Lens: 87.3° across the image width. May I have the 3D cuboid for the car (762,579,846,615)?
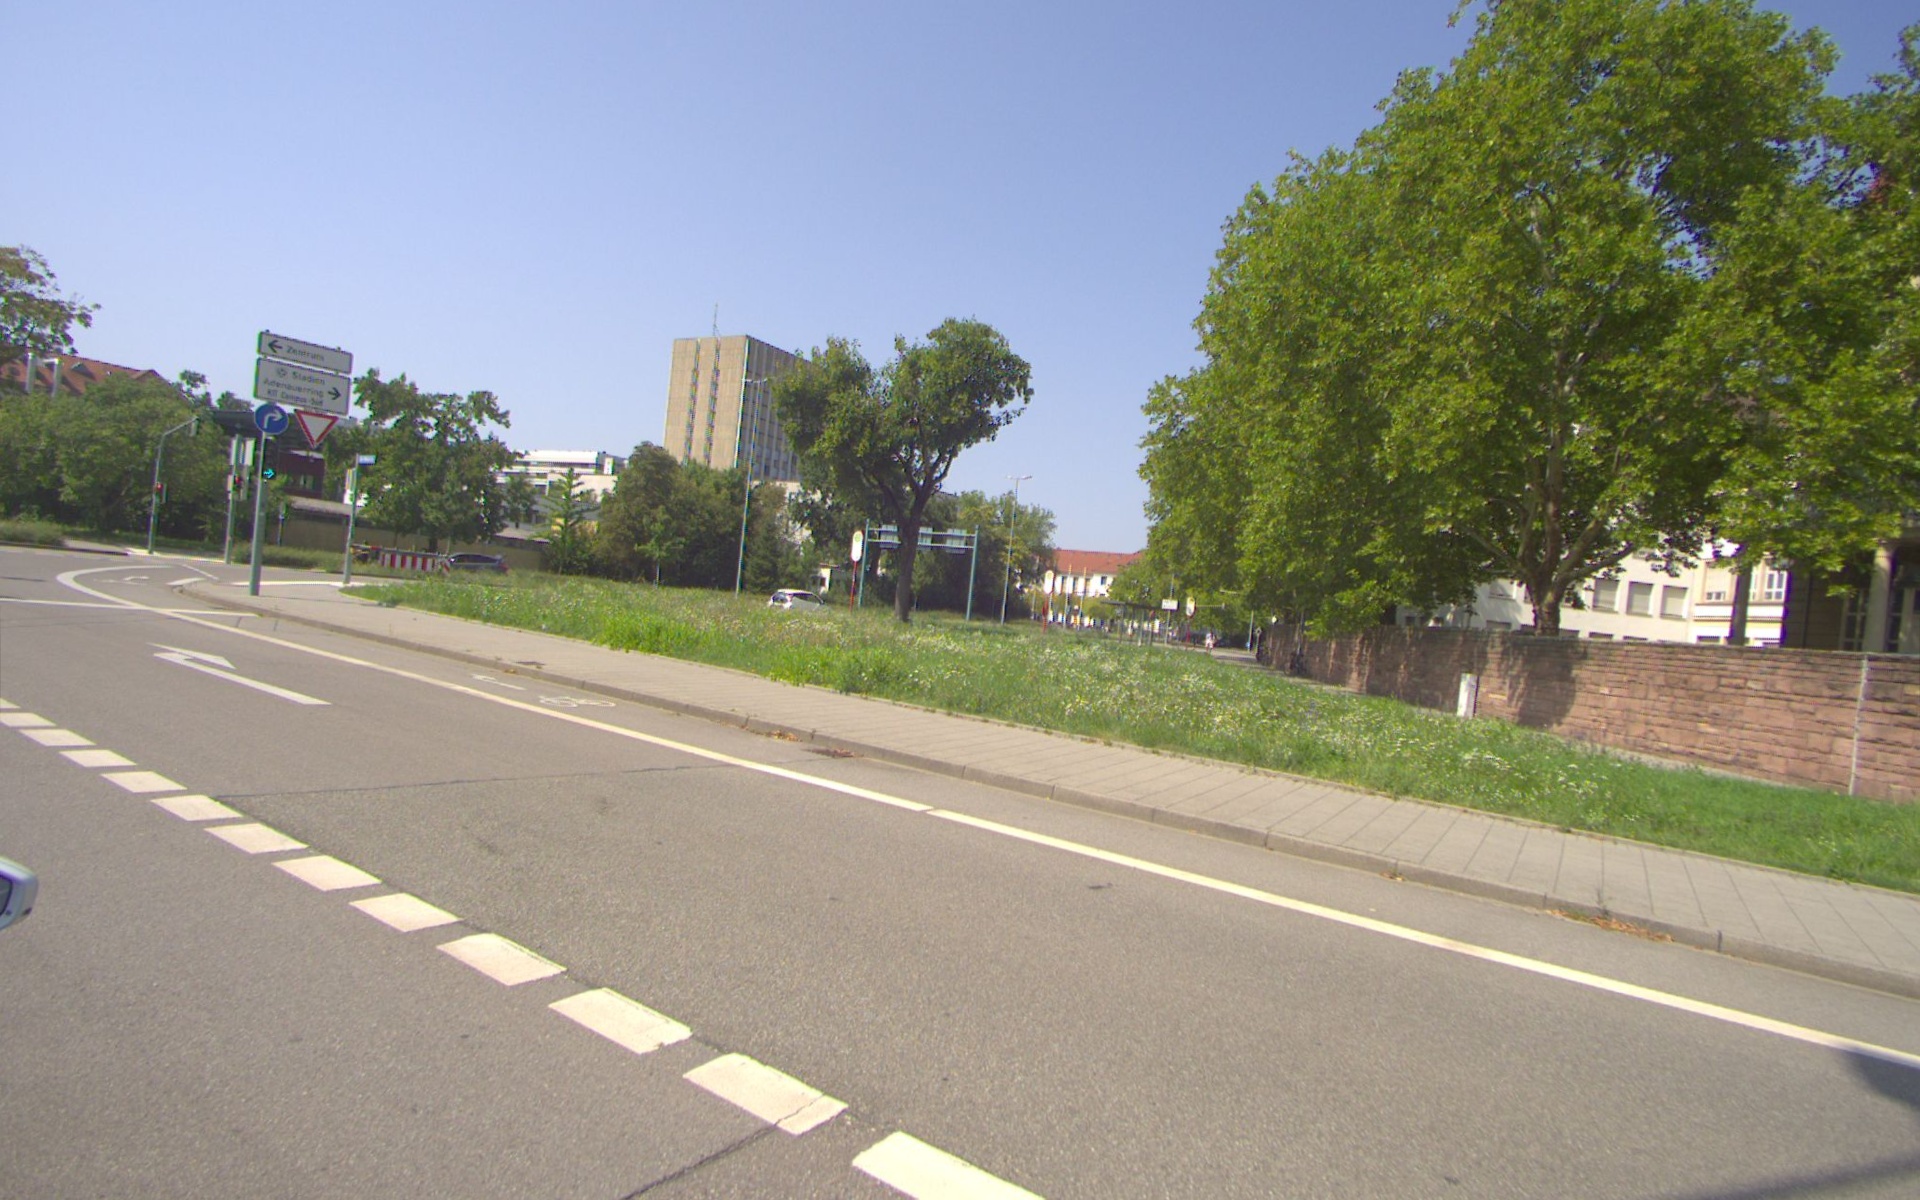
[{"bbox_3d":[-7.859,-0.120,50.832,1.820,1.409,3.986,7,0,36],"label":"car"}]

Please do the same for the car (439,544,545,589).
[{"bbox_3d":[-21.561,-1.517,46.497,1.794,1.585,3.987,7,0,35],"label":"car"}]
